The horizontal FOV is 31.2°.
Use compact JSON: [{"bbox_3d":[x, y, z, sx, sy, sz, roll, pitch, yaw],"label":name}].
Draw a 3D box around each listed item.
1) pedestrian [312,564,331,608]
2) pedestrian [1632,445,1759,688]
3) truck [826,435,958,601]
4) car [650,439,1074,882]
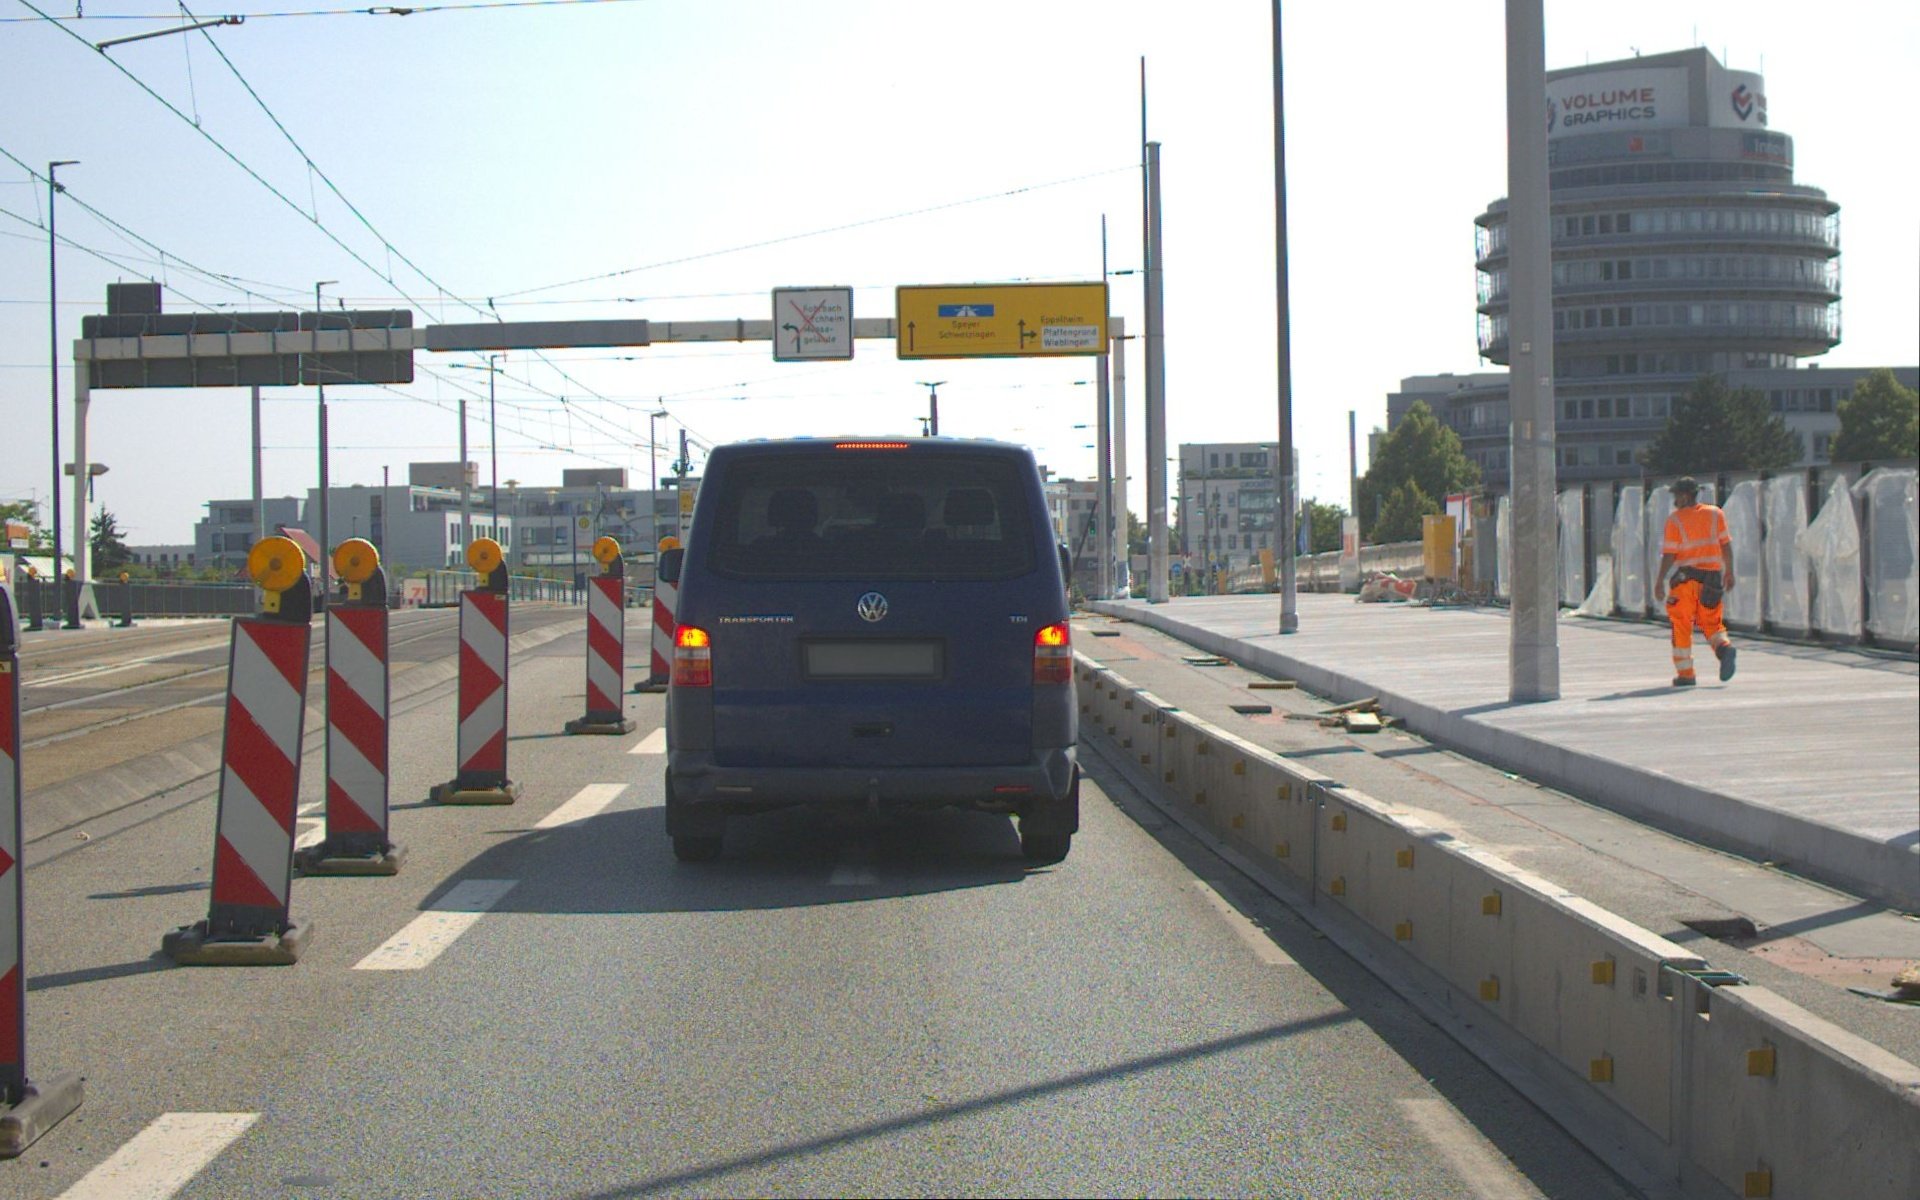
[{"bbox_3d":[-25.770,-0.582,138.705,0.634,1.768,0.752,0,1,-1],"label":"pedestrian"},{"bbox_3d":[5.996,-0.273,28.056,0.782,1.928,0.799,-2,0,-1],"label":"pedestrian"},{"bbox_3d":[-1.398,-1.749,71.414,2.460,3.124,11.217,-1,2,-1],"label":"truck"},{"bbox_3d":[-0.493,0.200,16.936,1.815,1.899,4.055,-1,2,-2],"label":"car"}]
